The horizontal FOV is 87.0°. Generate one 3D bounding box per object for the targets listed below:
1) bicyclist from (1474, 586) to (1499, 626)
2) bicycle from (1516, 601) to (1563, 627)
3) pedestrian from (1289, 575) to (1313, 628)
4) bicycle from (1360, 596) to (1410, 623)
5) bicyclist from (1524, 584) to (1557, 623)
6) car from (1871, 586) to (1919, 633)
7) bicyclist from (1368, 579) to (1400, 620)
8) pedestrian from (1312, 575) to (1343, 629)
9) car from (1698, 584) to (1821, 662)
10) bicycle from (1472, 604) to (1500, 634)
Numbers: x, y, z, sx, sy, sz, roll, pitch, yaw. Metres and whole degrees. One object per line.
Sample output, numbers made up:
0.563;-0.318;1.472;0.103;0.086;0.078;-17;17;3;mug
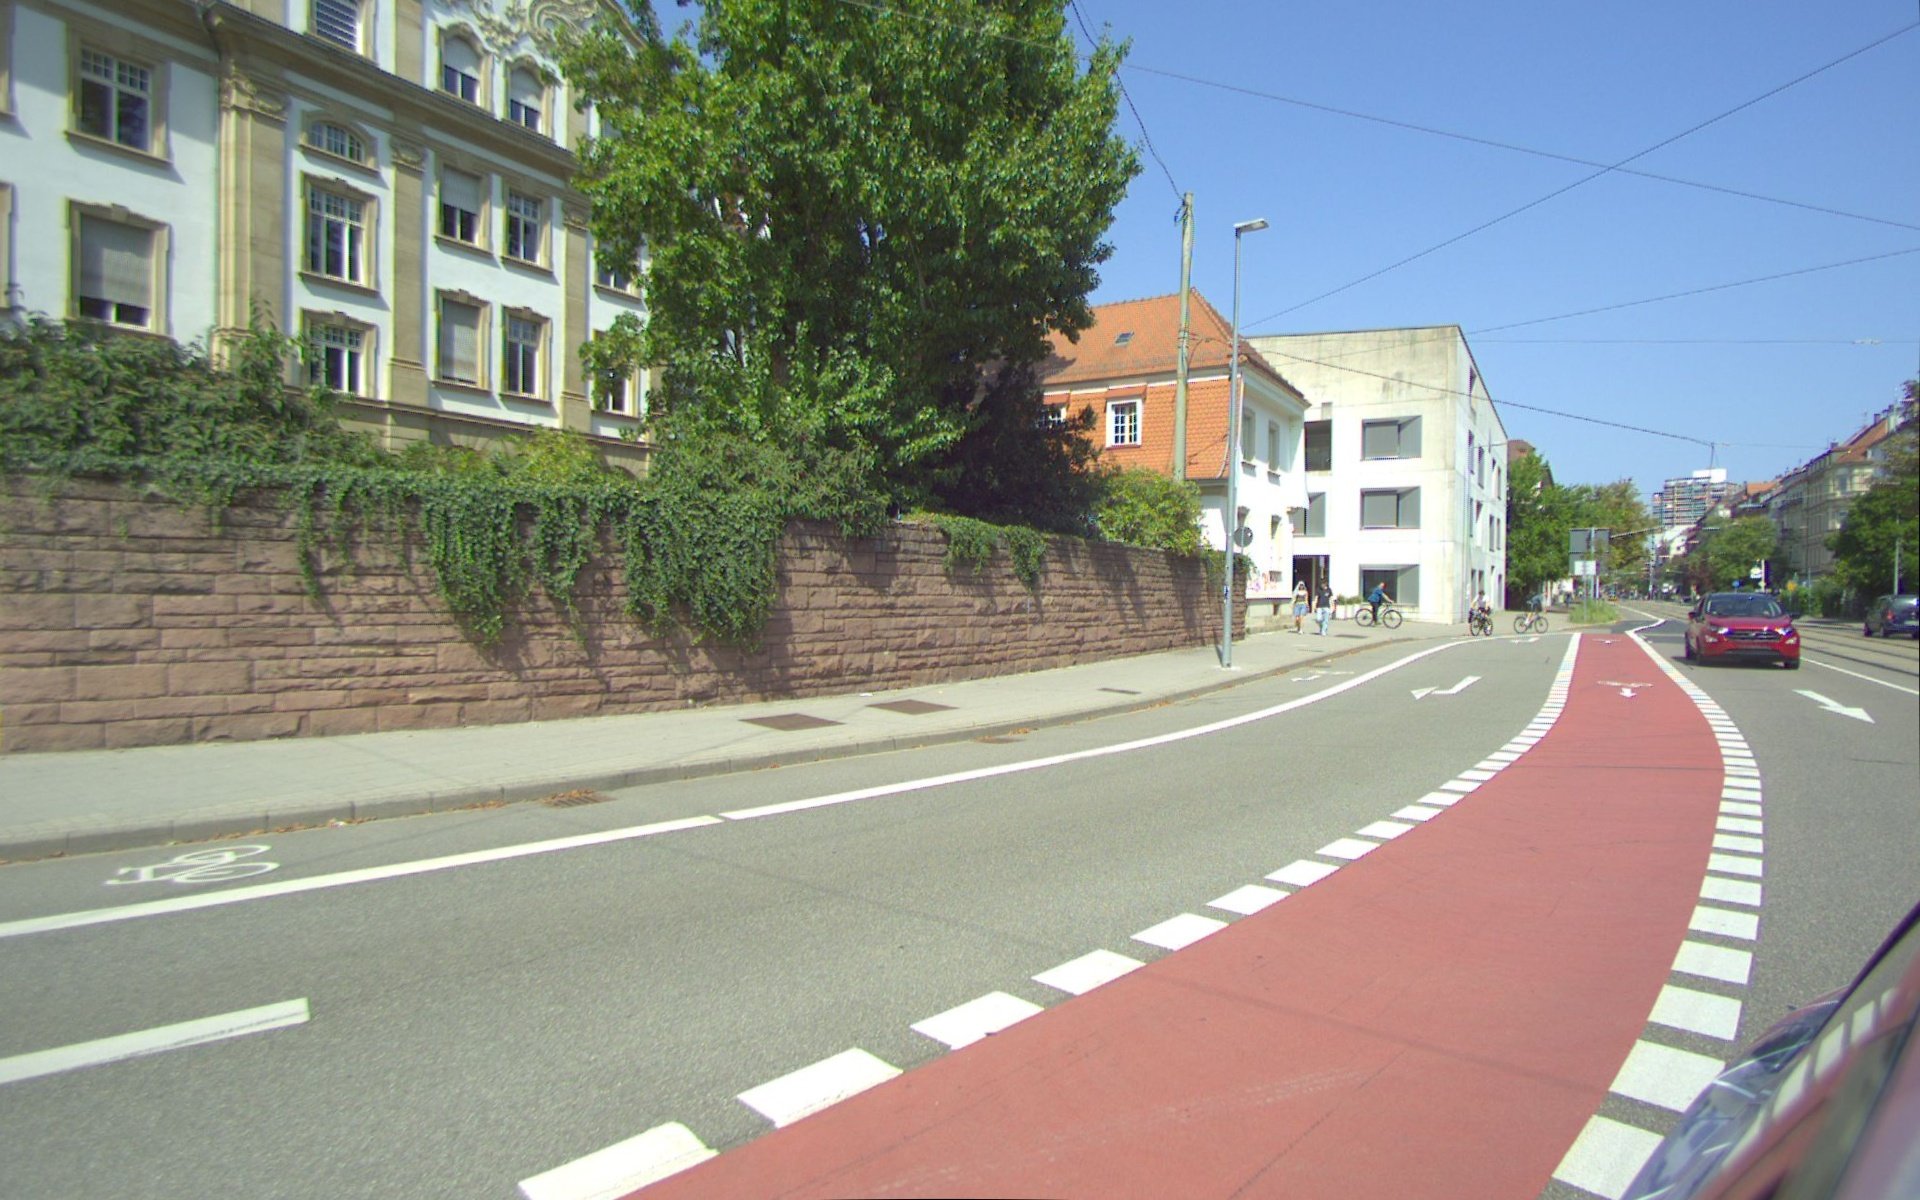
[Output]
19.488;0.211;37.455;0.742;1.429;0.950;1;0;33;bicyclist
23.993;0.571;41.925;1.676;1.012;0.617;0;1;-9;bicycle
10.969;0.035;32.550;0.615;1.687;0.481;1;0;32;pedestrian
16.949;0.378;40.384;1.680;1.012;0.615;2;1;4;bicycle
24.036;0.138;41.914;0.972;1.618;0.629;1;0;-9;bicyclist
35.540;0.336;37.781;1.684;1.676;3.539;0;1;33;car
16.910;-0.040;40.374;0.887;1.558;0.628;3;2;3;bicyclist
11.619;0.051;32.016;0.725;1.687;0.868;1;0;35;pedestrian
17.728;0.453;22.610;1.804;1.571;3.972;1;0;34;car
19.465;0.689;37.427;0.736;1.062;2.207;1;0;32;bicycle
